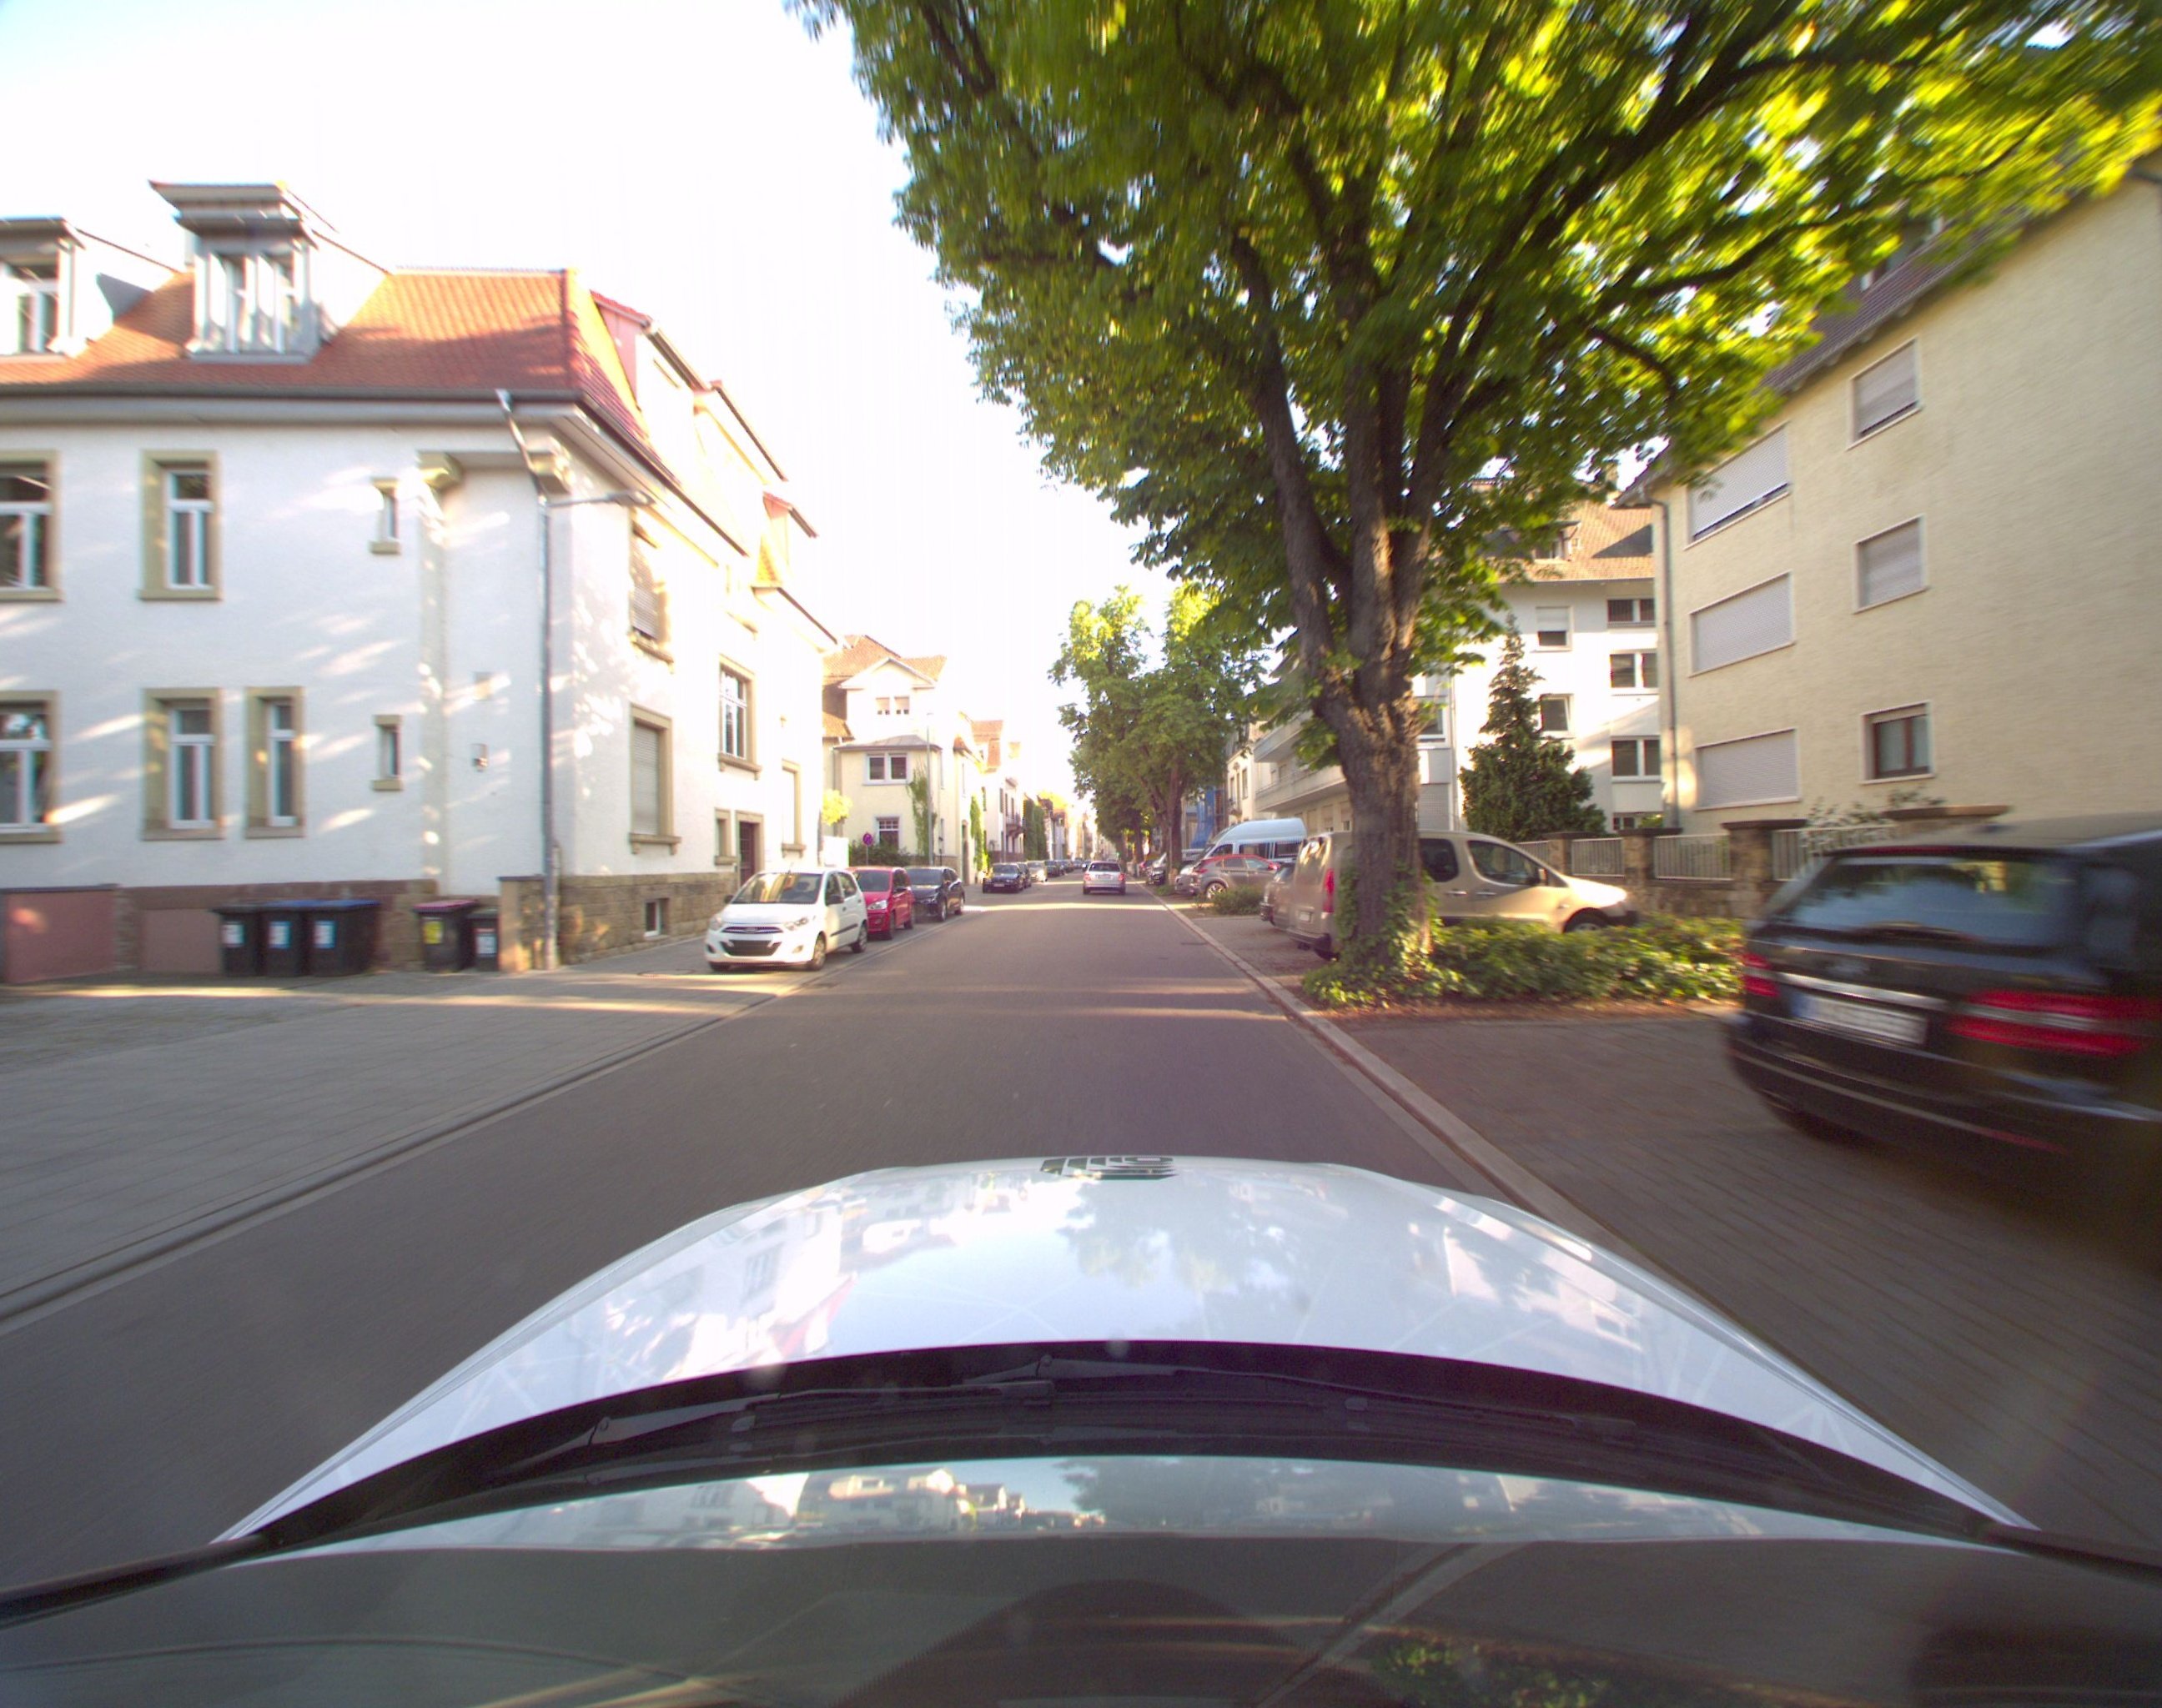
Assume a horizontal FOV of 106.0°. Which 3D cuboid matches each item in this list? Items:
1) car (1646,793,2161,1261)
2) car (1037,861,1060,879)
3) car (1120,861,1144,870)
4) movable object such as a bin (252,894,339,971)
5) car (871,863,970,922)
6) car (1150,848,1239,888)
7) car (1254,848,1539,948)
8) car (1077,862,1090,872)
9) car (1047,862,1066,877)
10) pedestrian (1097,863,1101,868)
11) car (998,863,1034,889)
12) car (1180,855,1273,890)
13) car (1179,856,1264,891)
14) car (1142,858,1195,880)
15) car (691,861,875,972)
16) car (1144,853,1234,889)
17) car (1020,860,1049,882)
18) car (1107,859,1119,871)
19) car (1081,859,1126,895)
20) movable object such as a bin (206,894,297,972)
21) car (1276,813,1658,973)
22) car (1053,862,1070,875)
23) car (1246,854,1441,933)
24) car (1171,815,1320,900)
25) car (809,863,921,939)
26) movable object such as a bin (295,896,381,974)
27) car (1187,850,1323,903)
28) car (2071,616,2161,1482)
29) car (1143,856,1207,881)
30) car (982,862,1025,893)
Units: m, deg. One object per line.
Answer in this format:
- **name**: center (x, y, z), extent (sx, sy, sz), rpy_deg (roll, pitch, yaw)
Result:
- **car**: center (5.055, 0.570, 3.621), extent (3.879, 1.603, 1.688), rpy_deg (-1, -1, 2)
- **car**: center (-2.770, 1.369, 70.580), extent (1.647, 1.486, 3.766), rpy_deg (1, -1, 2)
- **car**: center (9.281, 2.123, 148.216), extent (4.171, 1.475, 1.853), rpy_deg (-3, -1, 4)
- **movable object such as a bin**: center (-11.261, 1.111, 11.692), extent (0.581, 1.048, 0.665), rpy_deg (1, 0, 3)
- **car**: center (-4.332, 0.993, 22.680), extent (1.647, 1.454, 4.633), rpy_deg (1, -1, 2)
- **car**: center (6.009, 0.737, 43.385), extent (4.456, 2.014, 1.895), rpy_deg (-1, -1, -1)
- **car**: center (5.362, 0.725, 14.205), extent (4.289, 1.541, 1.757), rpy_deg (-1, -1, -2)
- **car**: center (0.391, 1.900, 121.948), extent (1.765, 1.448, 4.001), rpy_deg (-1, 0, 1)
- **car**: center (-2.398, 1.550, 80.968), extent (1.787, 1.461, 4.775), rpy_deg (1, -1, -1)
- **pedestrian**: center (5.762, 3.581, 259.682), extent (1.215, 1.722, 1.505), rpy_deg (0, -1, 5)
- **car**: center (-3.682, 1.252, 46.808), extent (1.647, 1.415, 4.168), rpy_deg (1, -1, 1)
- **car**: center (6.315, 0.807, 35.635), extent (3.708, 1.431, 1.758), rpy_deg (-1, -2, 0)
- **car**: center (6.602, 0.924, 38.485), extent (3.708, 1.554, 1.639), rpy_deg (-1, -1, 0)
- **car**: center (6.729, 1.169, 63.006), extent (3.970, 1.492, 1.852), rpy_deg (-2, -1, 3)
- **car**: center (-4.616, 0.888, 13.204), extent (1.576, 1.520, 3.706), rpy_deg (1, -1, 0)
- **car**: center (5.396, 0.856, 40.823), extent (4.170, 1.724, 1.762), rpy_deg (-1, -1, -6)
- **car**: center (-3.198, 1.155, 56.625), extent (1.647, 1.447, 4.006), rpy_deg (1, -1, 2)
- **car**: center (4.355, 1.473, 110.120), extent (1.617, 1.570, 3.682), rpy_deg (0, -1, 3)
- **car**: center (0.990, 0.959, 34.751), extent (1.777, 1.437, 3.852), rpy_deg (0, -1, 2)
- **movable object such as a bin**: center (-11.881, 1.115, 11.683), extent (0.581, 1.048, 0.665), rpy_deg (1, 0, 3)
- **car**: center (4.988, 0.493, 10.938), extent (4.289, 1.885, 1.757), rpy_deg (-1, -2, -2)
- **car**: center (-2.224, 1.616, 92.109), extent (1.643, 1.421, 4.100), rpy_deg (1, -1, 2)
- **car**: center (5.238, 0.767, 16.595), extent (3.390, 1.427, 1.759), rpy_deg (-2, -1, 1)
- **car**: center (6.015, 0.140, 30.279), extent (5.078, 2.902, 2.076), rpy_deg (-1, -1, 0)
- **car**: center (-4.626, 0.945, 17.919), extent (1.577, 1.477, 3.703), rpy_deg (1, -1, -2)
- **movable object such as a bin**: center (-10.651, 1.143, 11.693), extent (0.581, 1.048, 0.665), rpy_deg (1, 0, 3)
- **car**: center (5.803, 0.748, 27.514), extent (4.175, 1.568, 1.758), rpy_deg (-2, -1, 0)
- **car**: center (4.736, 0.387, 0.856), extent (4.786, 1.936, 1.952), rpy_deg (-1, -1, 3)
- **car**: center (6.396, 0.994, 55.643), extent (4.140, 1.539, 1.851), rpy_deg (-2, -1, 1)
- **car**: center (-3.846, 1.126, 41.024), extent (1.704, 1.470, 4.632), rpy_deg (1, -1, 0)
